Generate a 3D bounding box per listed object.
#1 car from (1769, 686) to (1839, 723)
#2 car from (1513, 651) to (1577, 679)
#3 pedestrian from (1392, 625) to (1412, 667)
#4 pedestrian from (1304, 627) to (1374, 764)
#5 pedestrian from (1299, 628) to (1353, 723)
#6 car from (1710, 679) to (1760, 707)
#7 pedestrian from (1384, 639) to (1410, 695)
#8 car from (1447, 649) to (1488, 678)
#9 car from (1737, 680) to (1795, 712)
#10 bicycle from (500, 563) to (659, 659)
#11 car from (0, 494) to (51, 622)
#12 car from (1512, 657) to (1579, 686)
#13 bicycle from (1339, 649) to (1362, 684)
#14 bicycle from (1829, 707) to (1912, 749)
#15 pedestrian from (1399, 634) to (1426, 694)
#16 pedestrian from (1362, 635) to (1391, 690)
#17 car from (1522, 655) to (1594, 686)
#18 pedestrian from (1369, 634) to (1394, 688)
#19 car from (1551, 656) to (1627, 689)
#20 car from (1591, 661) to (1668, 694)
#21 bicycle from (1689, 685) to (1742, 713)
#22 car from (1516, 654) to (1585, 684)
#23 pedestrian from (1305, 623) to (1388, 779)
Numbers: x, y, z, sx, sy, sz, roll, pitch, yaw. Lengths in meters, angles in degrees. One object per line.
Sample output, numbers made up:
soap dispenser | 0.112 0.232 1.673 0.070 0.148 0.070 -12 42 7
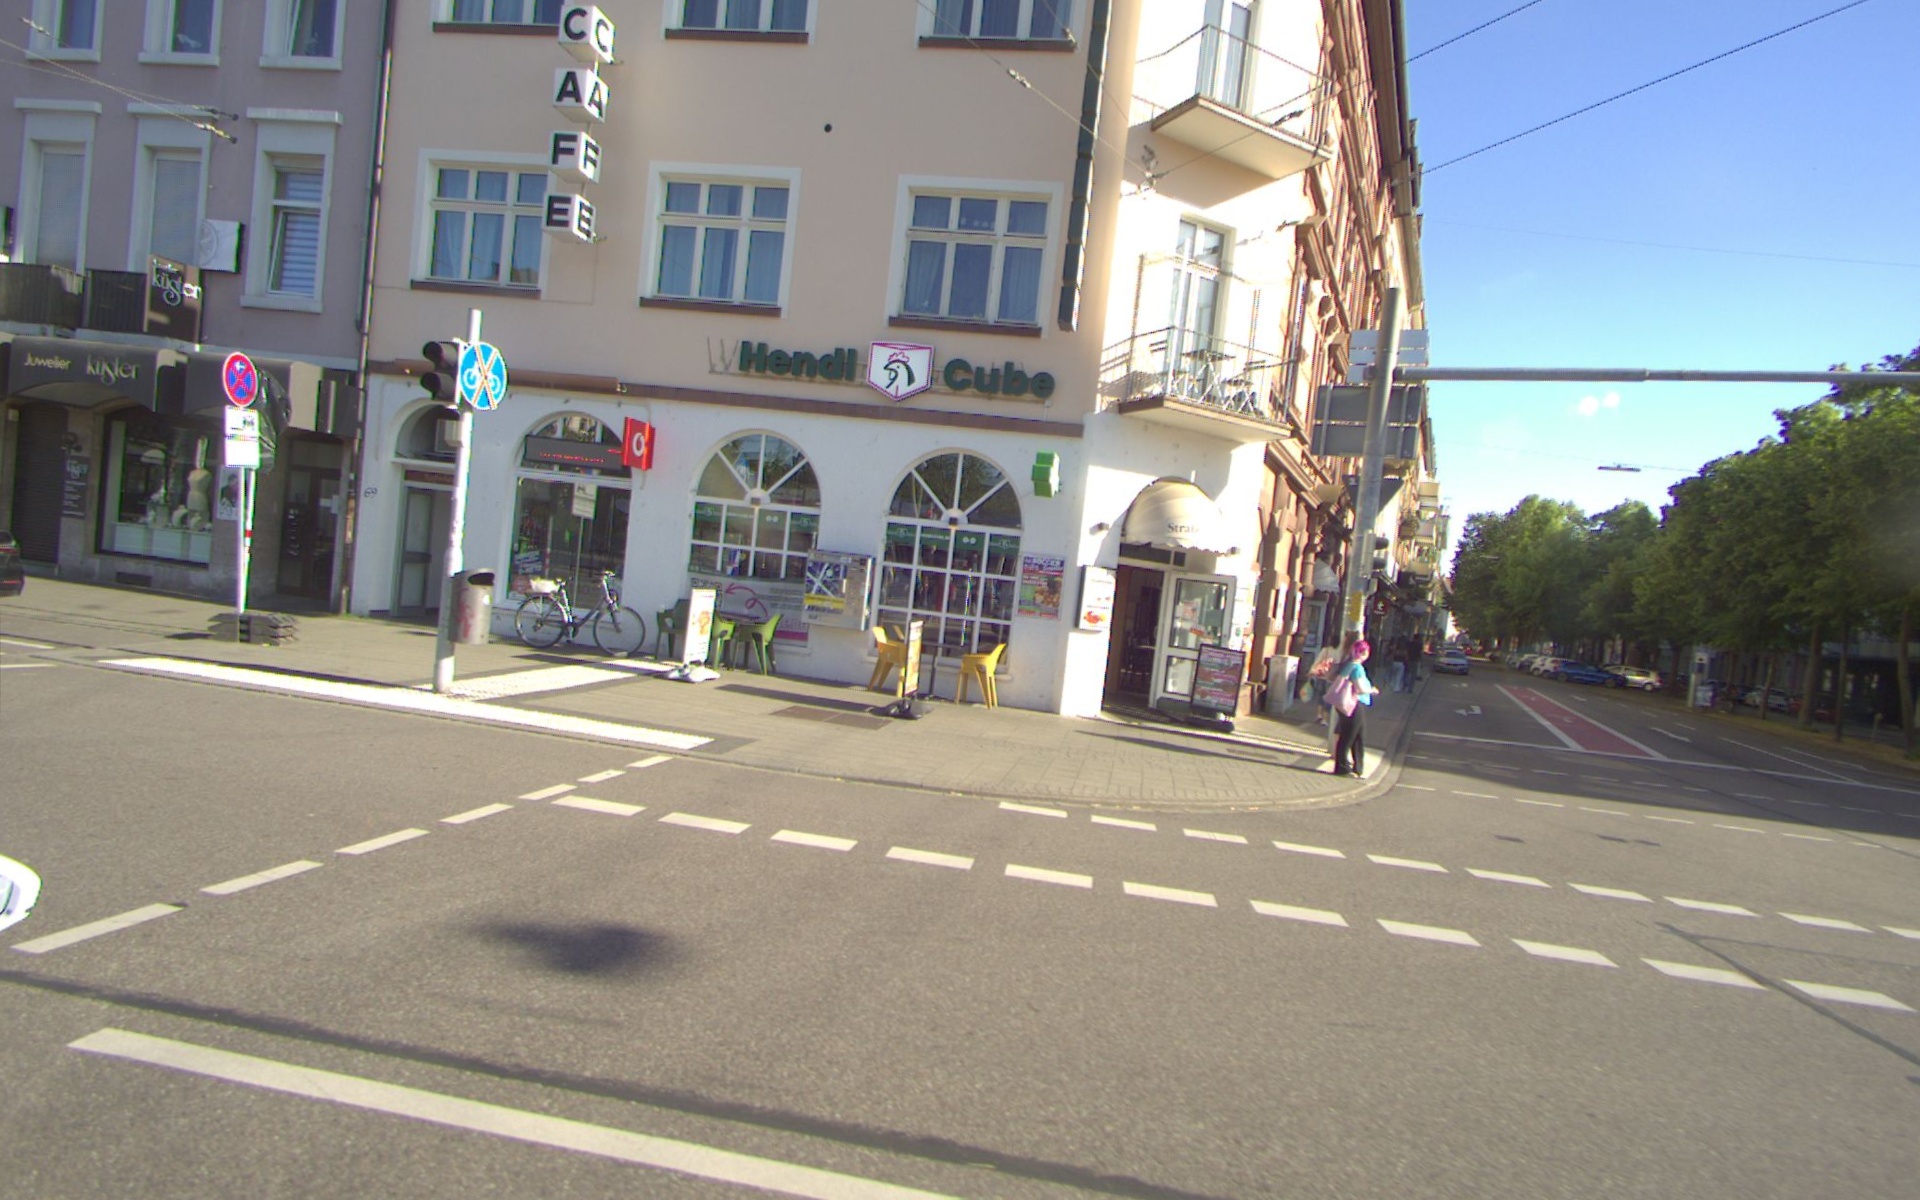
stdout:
car | 47.652 5.861 56.878 1.965 1.516 4.026 7 2 27
car | 45.495 5.029 78.218 3.940 1.566 1.991 7 2 38
pedestrian | 21.259 2.215 48.407 0.672 1.934 0.632 7 3 25
pedestrian | 4.925 1.220 13.063 0.621 1.663 0.551 8 3 23
pedestrian | 6.417 1.299 17.616 0.682 1.544 0.659 7 3 24
car | 55.085 6.601 71.583 1.965 1.516 4.026 7 2 27
pedestrian | 13.739 2.104 31.646 0.542 1.663 0.537 7 3 20
car | 32.626 4.054 64.760 1.964 1.516 4.028 7 1 23
car | 51.944 6.155 64.931 1.965 1.516 4.026 7 2 27
bicycle | -5.261 0.144 13.965 1.913 1.081 0.583 6 2 2
car | -13.284 -0.738 11.431 4.566 1.458 1.744 7 1 7
car | 43.460 5.260 74.711 3.940 1.566 1.991 7 2 38
bicycle | 13.292 2.239 34.225 0.488 1.081 1.767 7 2 25
bicycle | 31.153 4.360 34.460 0.576 1.081 1.936 5 2 -27
pedestrian | 14.671 2.076 32.590 0.571 1.860 0.632 7 3 25
pedestrian | 13.122 1.966 31.721 0.617 1.663 0.537 7 3 18
car | 41.377 4.867 69.646 3.940 1.566 1.991 7 2 38
pedestrian | 13.658 1.974 32.573 0.542 1.663 0.632 7 3 24
car | 41.381 4.759 66.209 3.940 1.566 1.991 7 2 38
car | 44.421 5.113 66.806 3.942 1.566 1.990 7 2 40
bicycle | 37.612 4.938 50.095 0.576 1.081 1.936 5 2 -27
car | 42.397 4.961 72.292 3.940 1.566 1.991 7 2 38
pedestrian | 4.459 1.136 11.602 0.665 1.663 0.577 8 3 23
